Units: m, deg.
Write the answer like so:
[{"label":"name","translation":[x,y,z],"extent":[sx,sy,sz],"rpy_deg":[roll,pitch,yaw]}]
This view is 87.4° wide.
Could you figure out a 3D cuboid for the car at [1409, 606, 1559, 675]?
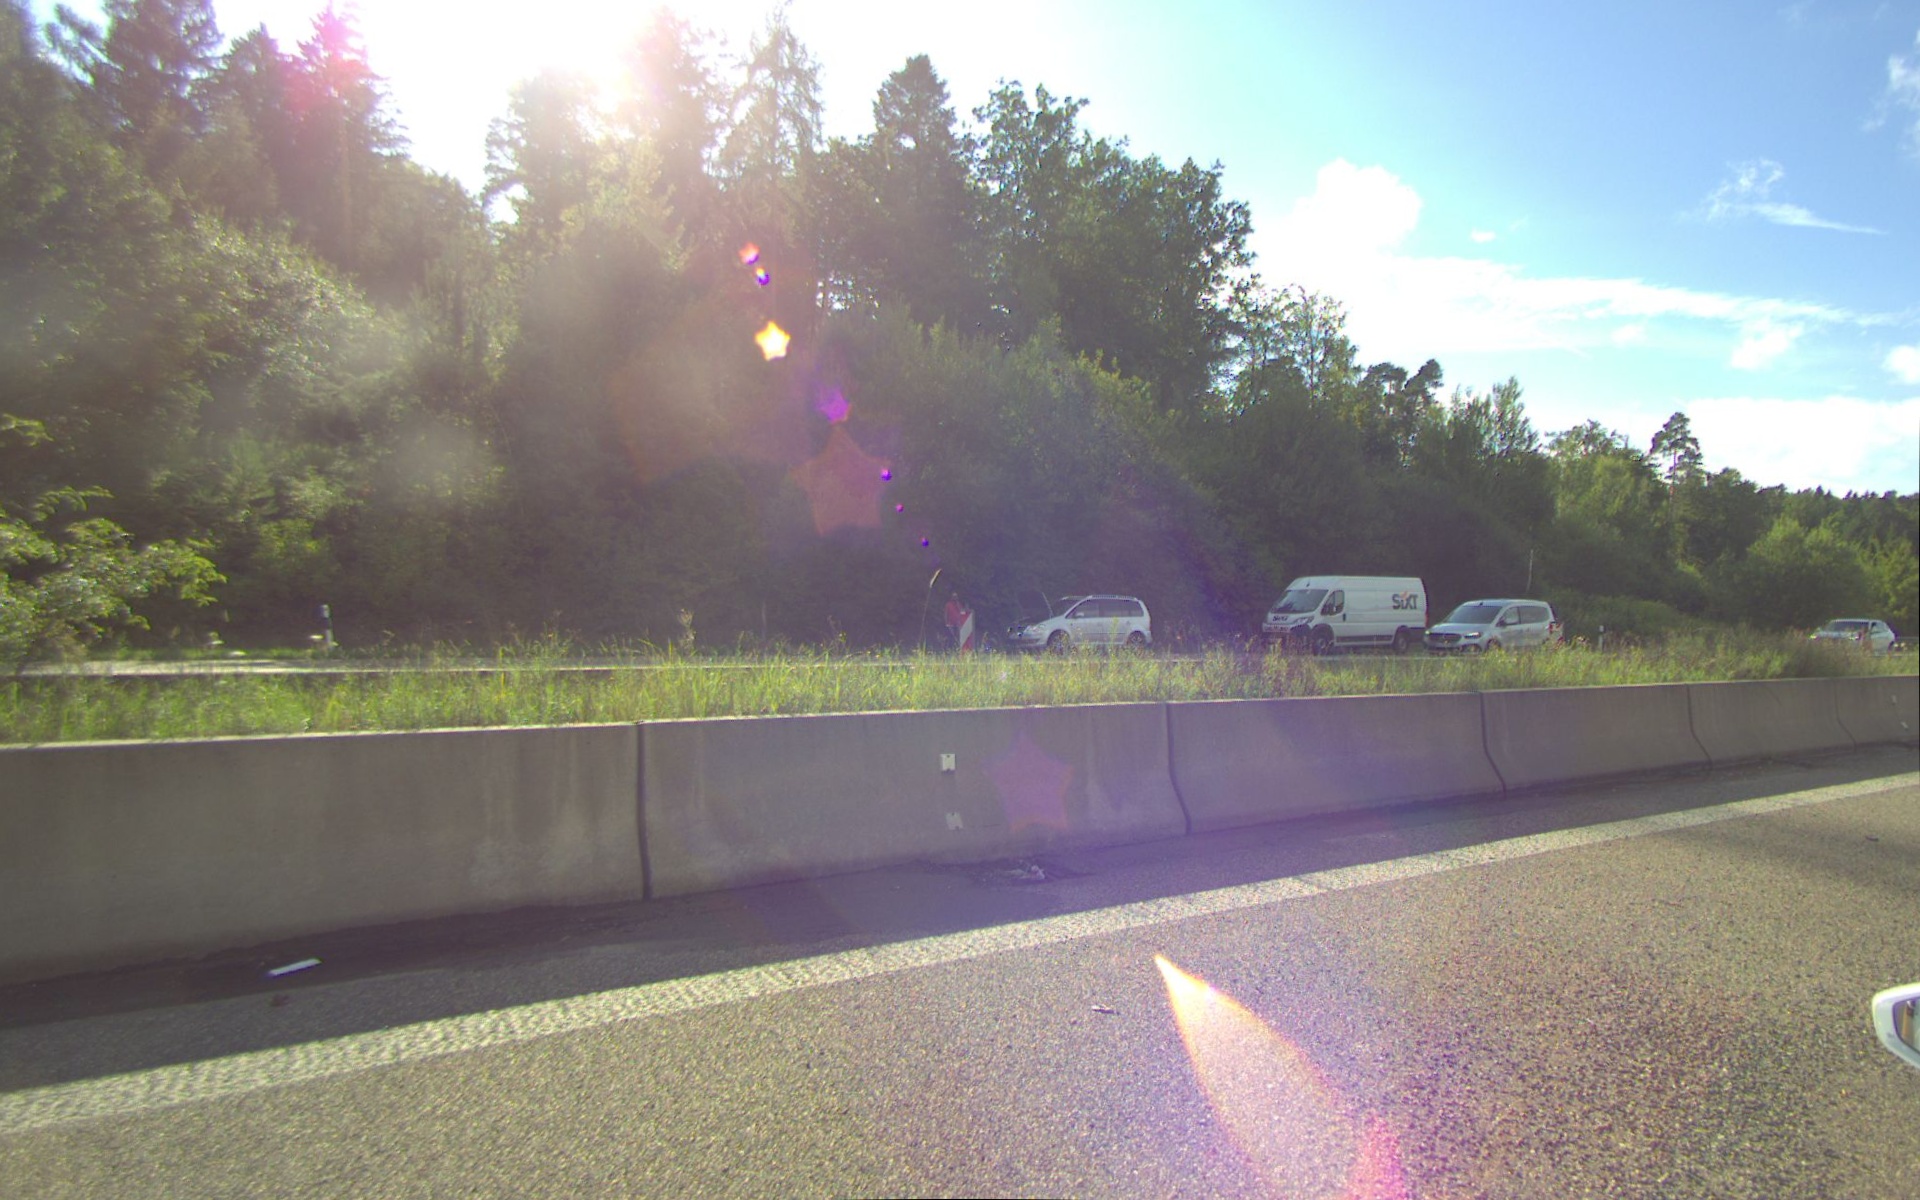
[{"label":"car","translation":[15.003,1.140,28.733],"extent":[4.314,1.809,1.769],"rpy_deg":[2,0,-31]}]

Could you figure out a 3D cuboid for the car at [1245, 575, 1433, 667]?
[{"label":"car","translation":[12.251,0.696,32.256],"extent":[6.447,2.720,2.018],"rpy_deg":[2,0,-31]}]

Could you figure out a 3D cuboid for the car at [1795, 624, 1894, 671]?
[{"label":"car","translation":[36.383,1.950,41.295],"extent":[4.314,1.809,1.769],"rpy_deg":[2,0,-31]}]

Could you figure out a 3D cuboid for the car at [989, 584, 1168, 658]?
[{"label":"car","translation":[3.290,0.601,27.599],"extent":[4.706,1.878,1.851],"rpy_deg":[2,0,-31]}]
